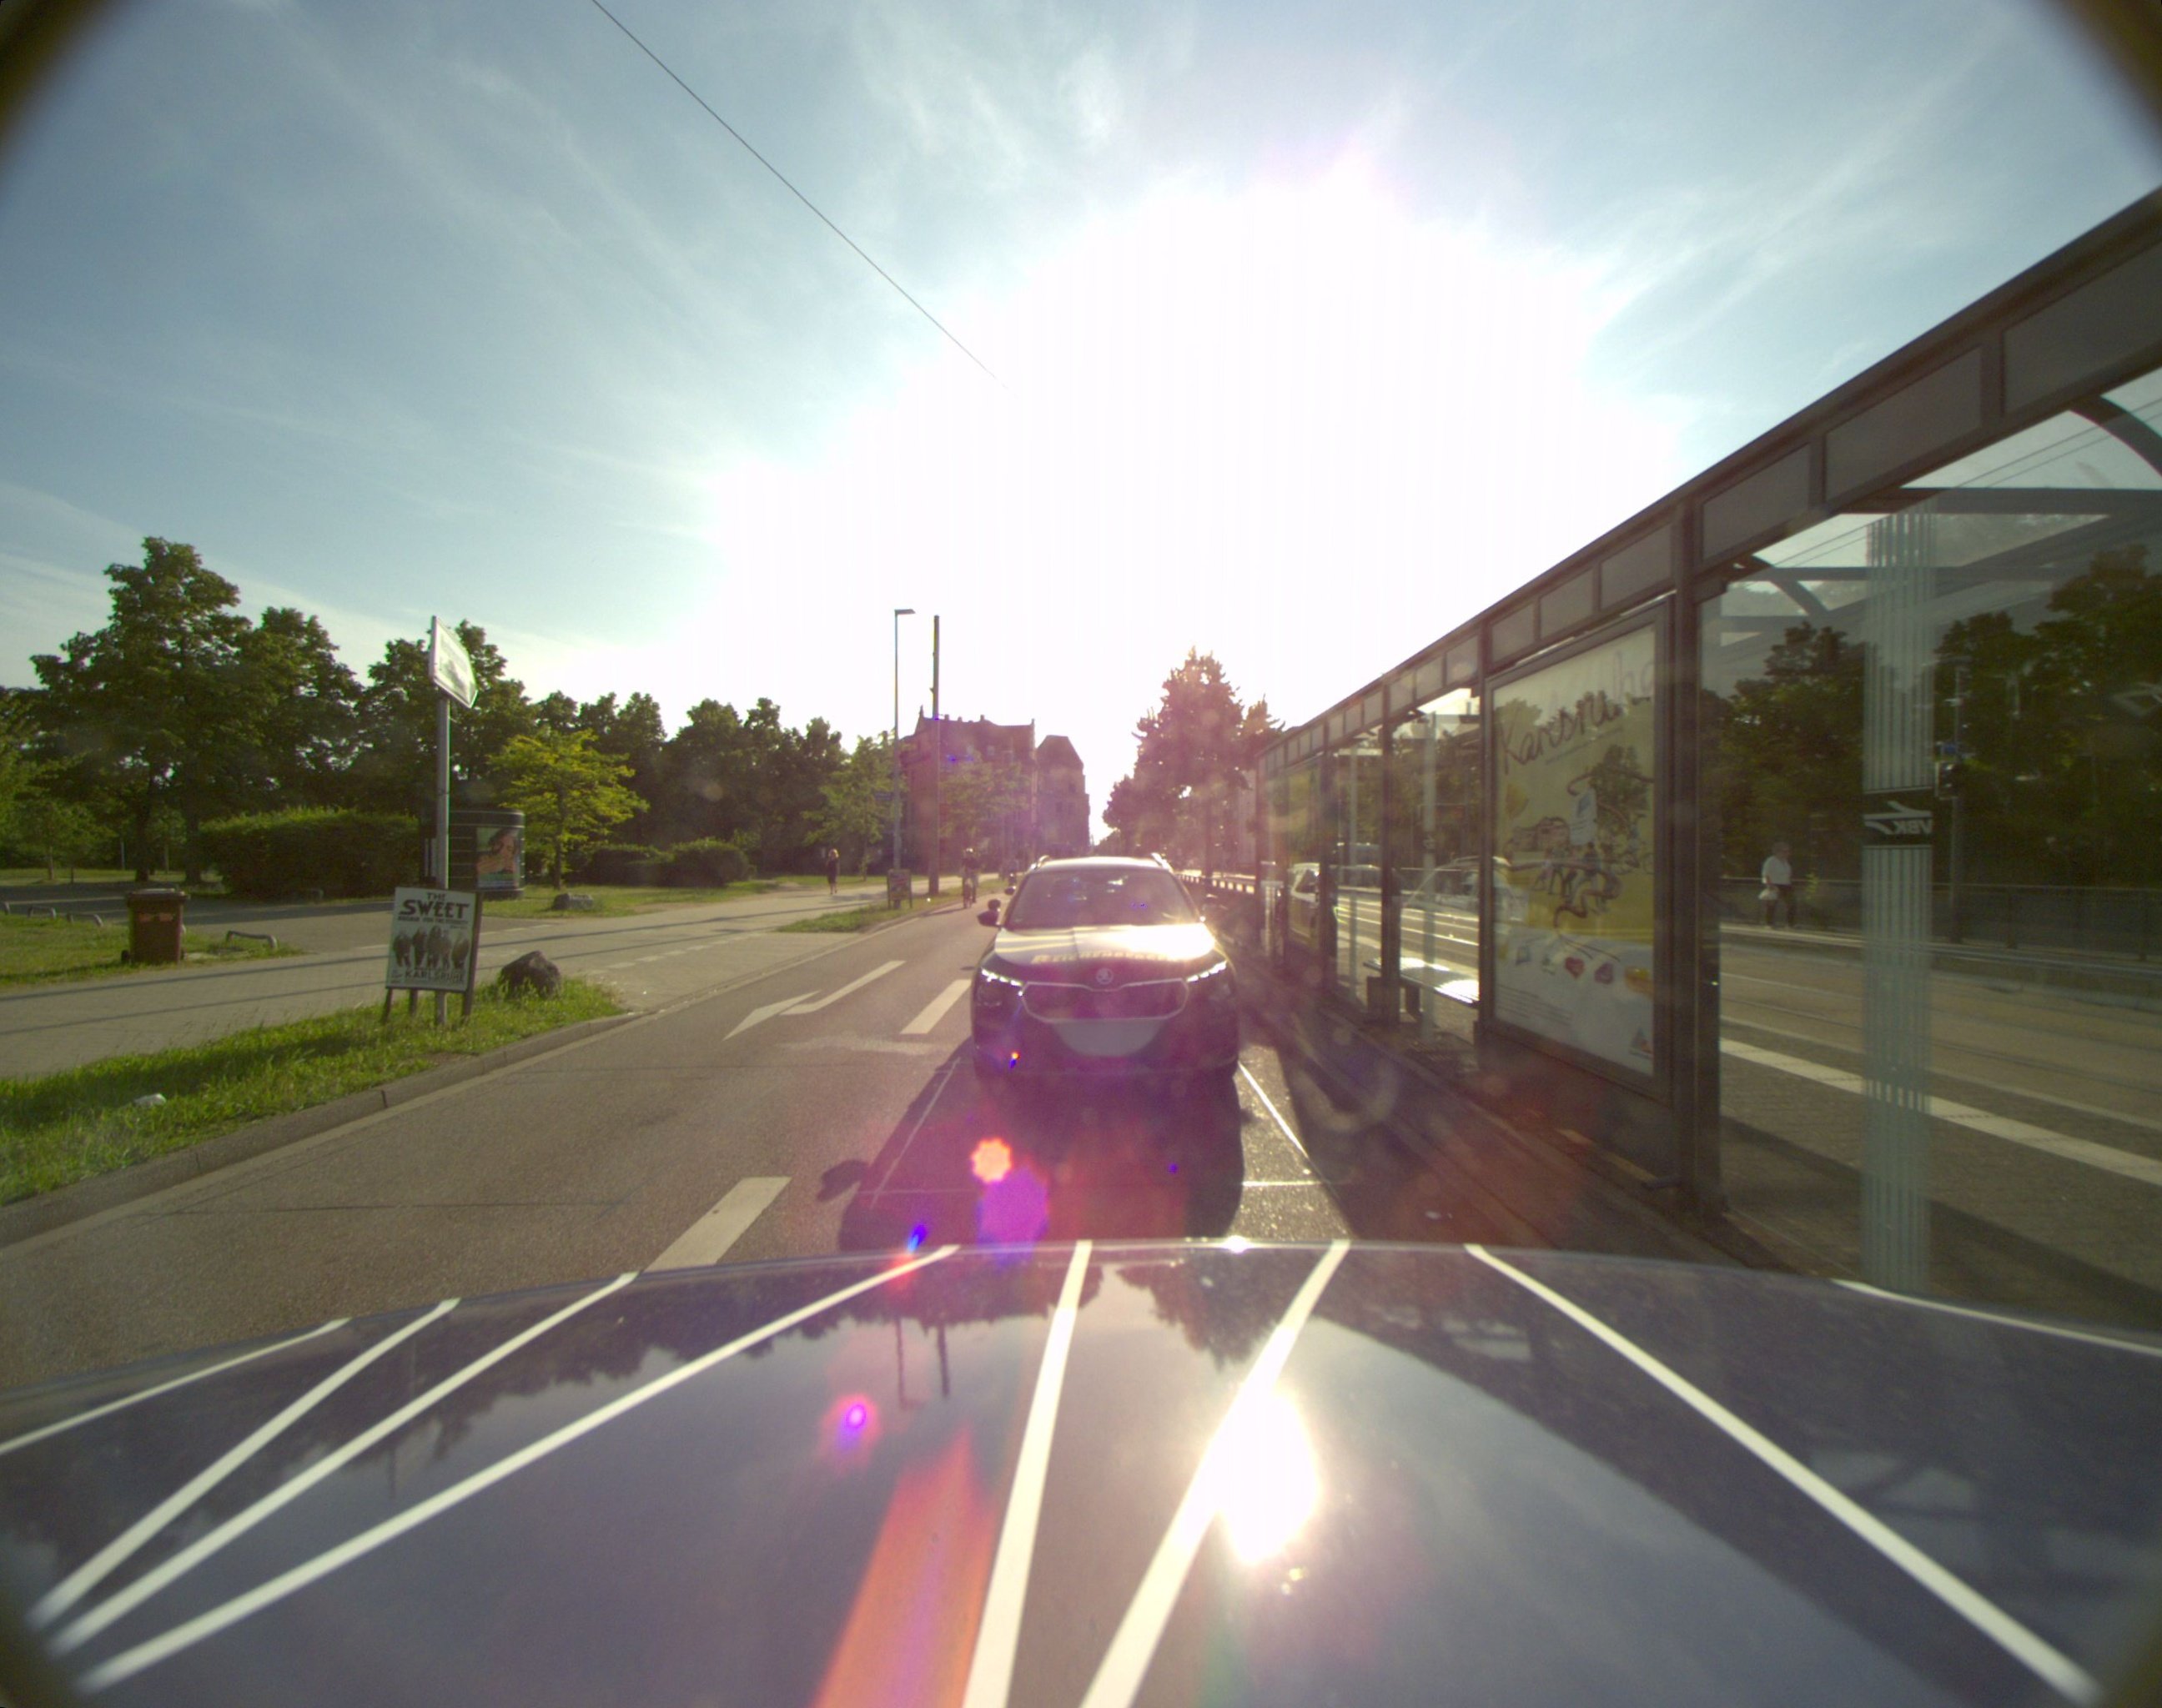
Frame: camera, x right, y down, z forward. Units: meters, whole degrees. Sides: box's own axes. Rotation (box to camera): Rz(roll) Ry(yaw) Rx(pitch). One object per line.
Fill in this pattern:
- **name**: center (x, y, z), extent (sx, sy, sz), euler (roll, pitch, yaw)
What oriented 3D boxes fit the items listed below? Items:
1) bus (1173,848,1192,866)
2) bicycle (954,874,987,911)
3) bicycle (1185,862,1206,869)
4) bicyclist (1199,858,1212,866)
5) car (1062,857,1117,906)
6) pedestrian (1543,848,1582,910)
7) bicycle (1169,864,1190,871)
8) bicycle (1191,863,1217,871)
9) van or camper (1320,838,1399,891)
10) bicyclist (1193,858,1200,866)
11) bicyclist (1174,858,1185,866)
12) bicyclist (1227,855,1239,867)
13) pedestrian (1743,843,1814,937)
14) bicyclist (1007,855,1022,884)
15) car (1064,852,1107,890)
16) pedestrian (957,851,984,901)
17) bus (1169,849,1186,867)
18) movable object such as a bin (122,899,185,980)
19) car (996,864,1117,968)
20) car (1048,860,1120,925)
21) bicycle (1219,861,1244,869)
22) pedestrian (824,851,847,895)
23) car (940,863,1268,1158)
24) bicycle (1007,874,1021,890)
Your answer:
- **bus**: center (19.984, 0.560, 150.088), extent (2.437, 3.415, 9.261), euler (-2, 1, 1)
- **bicycle**: center (-3.463, 1.187, 23.903), extent (0.651, 1.040, 1.980), euler (-2, 1, 2)
- **bicycle**: center (14.166, 1.440, 93.821), extent (2.537, 0.876, 0.631), euler (0, 0, 4)
- **bicyclist**: center (14.911, 0.965, 91.307), extent (1.402, 1.000, 0.888), euler (0, 0, -1)
- **car**: center (0.319, 0.910, 26.918), extent (1.756, 1.534, 4.235), euler (-1, 0, 1)
- **pedestrian**: center (13.579, 0.696, 21.446), extent (0.621, 1.675, 0.618), euler (3, 1, 1)
- **bicycle**: center (12.012, 1.676, 92.527), extent (2.537, 0.876, 0.631), euler (0, 0, 4)
- **bicycle**: center (14.749, 1.559, 91.216), extent (2.962, 0.974, 0.879), euler (0, 0, -2)
- **van or camper**: center (16.981, 0.577, 46.774), extent (2.527, 2.951, 6.411), euler (-2, 1, 1)
- **bicyclist**: center (14.272, 0.968, 93.816), extent (0.897, 0.908, 0.616), euler (0, 0, 4)
- **bicyclist**: center (12.001, 1.003, 92.519), extent (1.217, 1.018, 0.671), euler (0, 0, 4)
- **bicyclist**: center (19.095, 0.902, 95.546), extent (1.402, 1.538, 0.888), euler (0, 0, -1)
- **pedestrian**: center (12.897, 0.648, 14.066), extent (0.621, 1.675, 0.618), euler (3, 1, 1)
- **bicyclist**: center (-3.421, 0.771, 39.015), extent (0.689, 1.445, 1.111), euler (0, 0, 0)
- **car**: center (0.214, 0.685, 33.515), extent (1.756, 1.534, 4.235), euler (-1, 0, 1)
- **pedestrian**: center (-3.479, 0.672, 23.985), extent (0.637, 1.512, 0.845), euler (-2, 1, 1)
- **bus**: center (20.129, 0.785, 159.367), extent (2.437, 3.415, 9.261), euler (-2, 1, 1)
- **movable object such as a bin**: center (-11.398, 1.034, 9.354), extent (0.603, 0.912, 0.457), euler (1, 1, 42)
- **car**: center (-0.327, 0.943, 13.339), extent (1.756, 1.451, 4.235), euler (-1, 0, 1)
- **car**: center (0.113, 0.977, 20.932), extent (1.756, 1.534, 4.235), euler (-1, 0, 1)
- **bicycle**: center (18.962, 1.425, 95.550), extent (2.962, 0.974, 0.879), euler (0, 0, -2)
- **pedestrian**: center (-9.466, 0.733, 29.289), extent (0.621, 1.675, 0.618), euler (-2, 1, 1)
- **car**: center (0.161, 0.882, 6.274), extent (1.756, 1.534, 4.235), euler (-1, 0, 1)
- **bicycle**: center (-3.431, 1.429, 39.070), extent (0.567, 0.789, 2.041), euler (0, 0, 0)
